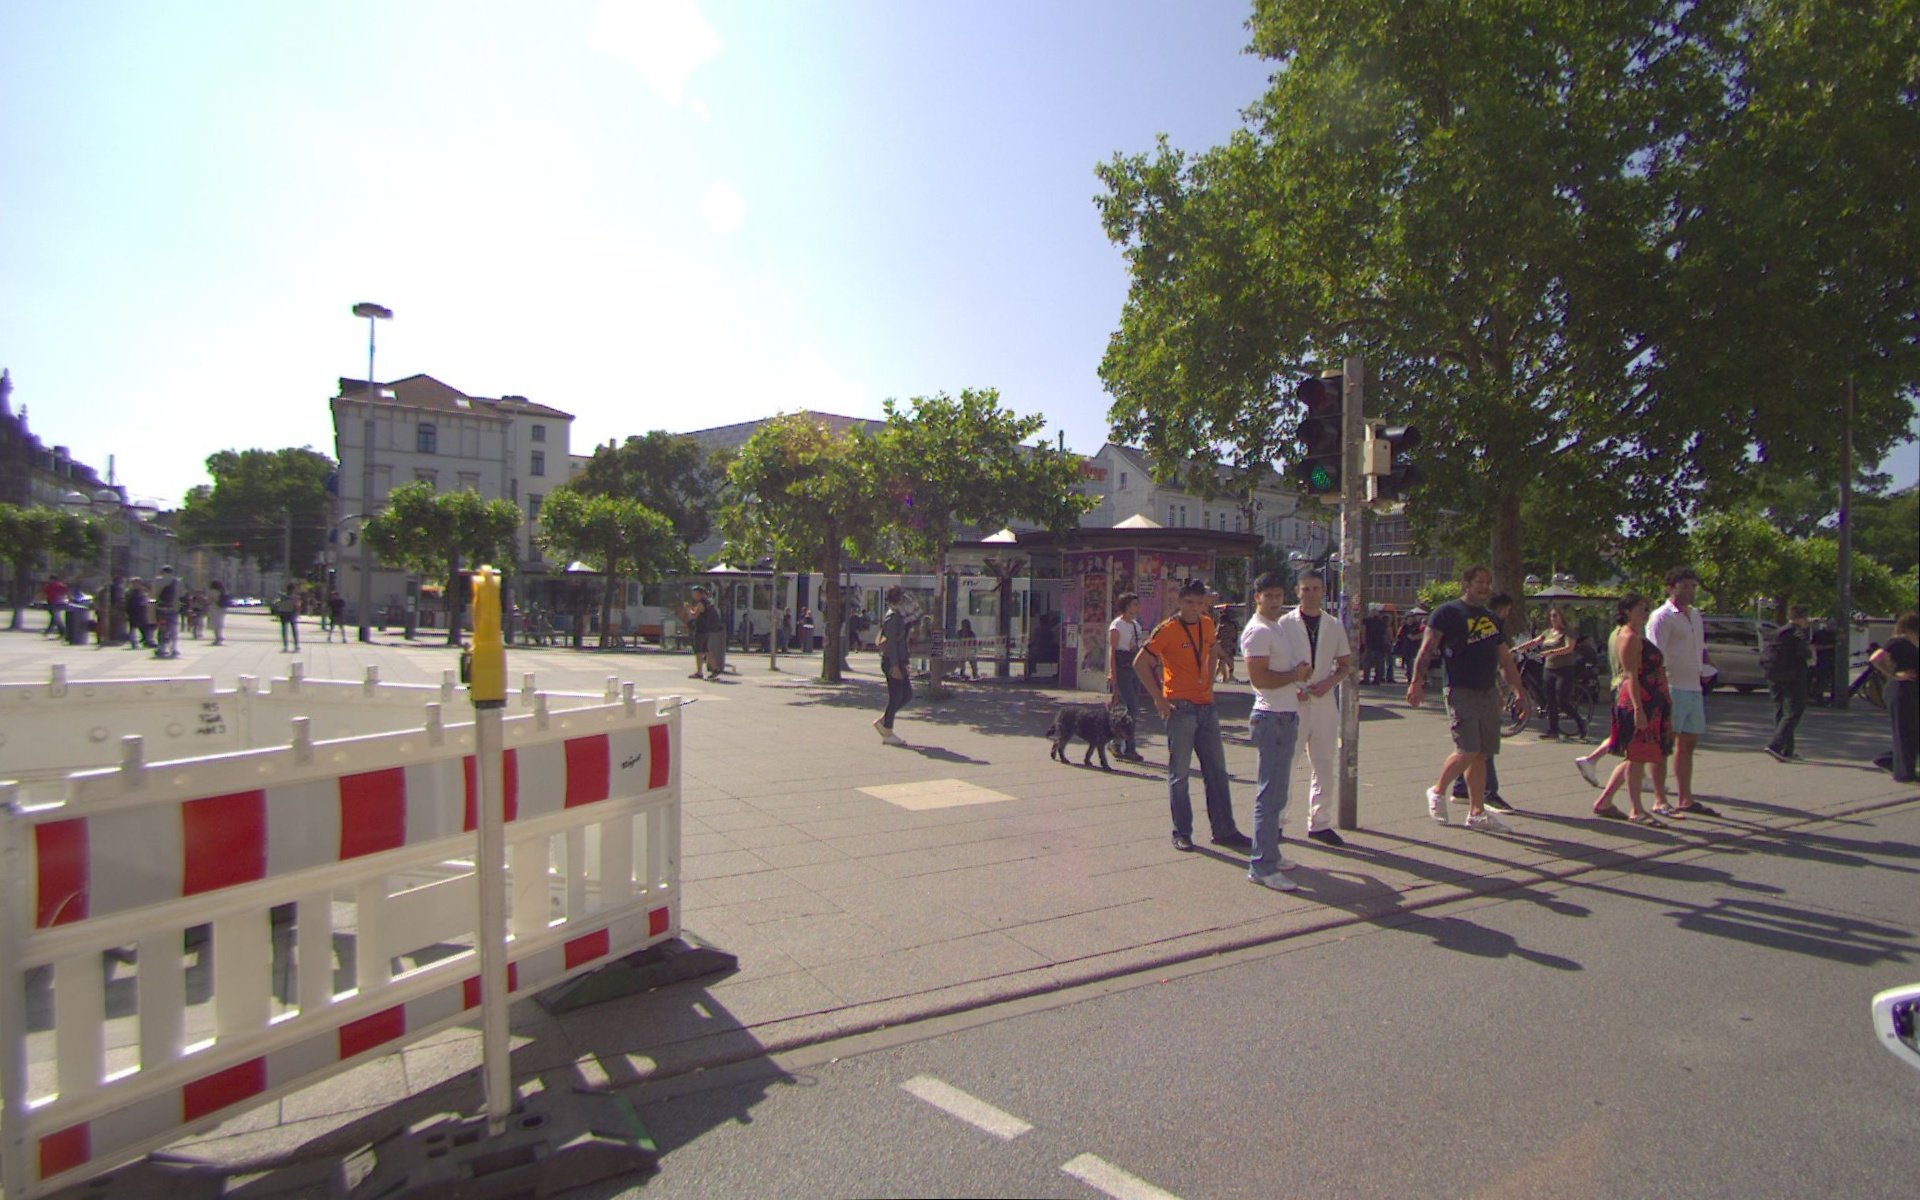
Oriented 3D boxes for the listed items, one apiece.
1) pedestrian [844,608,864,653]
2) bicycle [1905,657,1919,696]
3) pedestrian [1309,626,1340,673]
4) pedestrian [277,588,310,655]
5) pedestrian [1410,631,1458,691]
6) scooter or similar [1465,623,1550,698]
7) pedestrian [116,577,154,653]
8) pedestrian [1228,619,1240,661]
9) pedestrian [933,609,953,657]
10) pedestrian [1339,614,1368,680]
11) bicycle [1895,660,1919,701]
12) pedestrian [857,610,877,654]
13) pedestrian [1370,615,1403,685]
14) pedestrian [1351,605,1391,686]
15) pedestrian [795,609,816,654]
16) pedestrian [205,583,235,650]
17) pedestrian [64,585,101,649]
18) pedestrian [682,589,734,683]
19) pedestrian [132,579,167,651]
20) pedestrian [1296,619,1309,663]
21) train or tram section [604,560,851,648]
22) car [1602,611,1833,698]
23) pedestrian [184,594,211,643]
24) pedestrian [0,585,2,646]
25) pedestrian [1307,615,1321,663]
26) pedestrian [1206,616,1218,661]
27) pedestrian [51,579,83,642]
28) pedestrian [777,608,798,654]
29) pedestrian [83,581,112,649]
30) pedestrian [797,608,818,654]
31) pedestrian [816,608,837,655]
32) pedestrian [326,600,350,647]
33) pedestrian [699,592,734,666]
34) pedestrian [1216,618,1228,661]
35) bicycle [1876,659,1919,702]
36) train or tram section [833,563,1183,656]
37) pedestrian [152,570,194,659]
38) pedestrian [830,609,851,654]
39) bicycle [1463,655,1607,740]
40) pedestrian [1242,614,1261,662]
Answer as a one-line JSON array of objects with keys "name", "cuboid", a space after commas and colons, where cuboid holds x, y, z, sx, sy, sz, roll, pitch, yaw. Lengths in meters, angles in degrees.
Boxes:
[{"name": "pedestrian", "cuboid": [-4.297, 1.224, 40.617, 0.594, 1.772, 0.747, 1, 0, 9]}, {"name": "bicycle", "cuboid": [25.443, 1.986, 25.500, 0.679, 0.993, 2.064, 3, -2, -41]}, {"name": "pedestrian", "cuboid": [12.082, 1.628, 33.266, 0.598, 1.534, 0.742, 1, 0, -24]}, {"name": "pedestrian", "cuboid": [-16.170, 0.527, 24.370, 0.600, 1.582, 0.796, 2, 1, -35]}, {"name": "pedestrian", "cuboid": [10.742, 1.385, 22.783, 0.718, 1.310, 0.634, 2, -1, -9]}, {"name": "scooter or similar", "cuboid": [11.160, 1.217, 20.509, 1.018, 1.439, 1.281, 2, -1, 0]}, {"name": "pedestrian", "cuboid": [-19.656, 0.346, 23.936, 0.600, 1.772, 0.796, 2, 1, -35]}, {"name": "pedestrian", "cuboid": [10.392, 1.507, 38.061, 0.374, 1.595, 0.415, 1, 0, 9]}, {"name": "pedestrian", "cuboid": [-0.635, 1.251, 37.896, 0.594, 1.772, 0.747, 1, 0, 9]}, {"name": "pedestrian", "cuboid": [9.873, 1.175, 25.226, 0.489, 1.624, 0.500, 2, -2, -10]}, {"name": "bicycle", "cuboid": [24.506, 2.019, 24.763, 0.679, 0.993, 2.064, 3, -2, -41]}, {"name": "pedestrian", "cuboid": [-3.815, 1.313, 41.352, 0.594, 1.772, 0.804, 1, 0, 9]}, {"name": "pedestrian", "cuboid": [10.364, 1.217, 24.412, 0.516, 1.678, 0.513, 2, -2, -10]}, {"name": "pedestrian", "cuboid": [9.514, 1.062, 23.278, 0.604, 1.833, 0.633, 2, -2, -10]}, {"name": "pedestrian", "cuboid": [-6.208, 1.245, 40.309, 0.594, 1.772, 0.747, 1, 0, 9]}, {"name": "pedestrian", "cuboid": [-20.202, 0.450, 27.440, 0.600, 1.772, 0.796, 2, 1, -35]}, {"name": "pedestrian", "cuboid": [-22.760, 0.437, 26.067, 0.600, 1.643, 0.796, 2, 1, -35]}, {"name": "pedestrian", "cuboid": [-4.911, 0.695, 19.597, 0.788, 1.772, 0.606, 2, 1, 1]}, {"name": "pedestrian", "cuboid": [-20.399, 0.374, 25.289, 0.600, 1.772, 0.796, 2, 1, -35]}, {"name": "pedestrian", "cuboid": [12.803, 1.525, 37.521, 0.374, 1.595, 0.415, 1, 0, 9]}, {"name": "train or tram section", "cuboid": [-10.661, 0.168, 46.470, 10.779, 3.725, 2.623, 1, 0, 5]}, {"name": "car", "cuboid": [18.746, 1.326, 24.943, 4.675, 1.981, 1.862, 2, -1, -9]}, {"name": "pedestrian", "cuboid": [-26.397, 0.655, 34.780, 0.566, 1.660, 0.603, 3, 1, 41]}, {"name": "pedestrian", "cuboid": [-26.759, 0.418, 27.574, 0.566, 1.660, 0.603, 3, 1, 41]}, {"name": "pedestrian", "cuboid": [13.187, 1.439, 37.416, 0.374, 1.772, 0.415, 1, 0, 9]}, {"name": "pedestrian", "cuboid": [9.512, 1.439, 37.868, 0.374, 1.693, 0.415, 1, 0, 9]}, {"name": "pedestrian", "cuboid": [-25.725, 0.313, 28.946, 0.792, 1.772, 0.602, 3, 1, 44]}, {"name": "pedestrian", "cuboid": [-6.880, 1.226, 40.045, 0.594, 1.772, 0.747, 1, 0, 9]}, {"name": "pedestrian", "cuboid": [-23.071, 0.394, 26.877, 0.498, 1.772, 0.540, 2, 1, -35]}, {"name": "pedestrian", "cuboid": [-5.965, 1.215, 39.248, 0.594, 1.772, 0.747, 1, 0, 9]}, {"name": "pedestrian", "cuboid": [-5.186, 1.219, 39.015, 0.594, 1.772, 0.747, 1, 0, 9]}, {"name": "pedestrian", "cuboid": [-22.299, 0.830, 36.011, 0.598, 1.660, 0.571, 2, 1, -25]}, {"name": "pedestrian", "cuboid": [-5.903, 0.702, 24.322, 0.601, 1.772, 0.602, 2, -2, -41]}, {"name": "pedestrian", "cuboid": [9.950, 1.502, 38.093, 0.374, 1.595, 0.415, 1, 0, 9]}, {"name": "bicycle", "cuboid": [23.464, 1.952, 24.150, 0.679, 0.993, 2.064, 3, -2, -41]}, {"name": "train or tram section", "cuboid": [2.117, 0.393, 45.312, 15.233, 3.725, 2.623, 1, 0, 5]}, {"name": "pedestrian", "cuboid": [-16.401, 0.300, 20.952, 0.600, 1.822, 0.796, 2, 1, -35]}, {"name": "pedestrian", "cuboid": [-4.746, 1.253, 39.910, 0.594, 1.772, 0.747, 1, 0, 9]}, {"name": "bicycle", "cuboid": [7.567, 1.268, 13.208, 1.903, 1.042, 0.489, 1, -1, -18]}, {"name": "pedestrian", "cuboid": [10.947, 1.411, 37.755, 0.594, 1.772, 0.573, 1, 0, 9]}]
